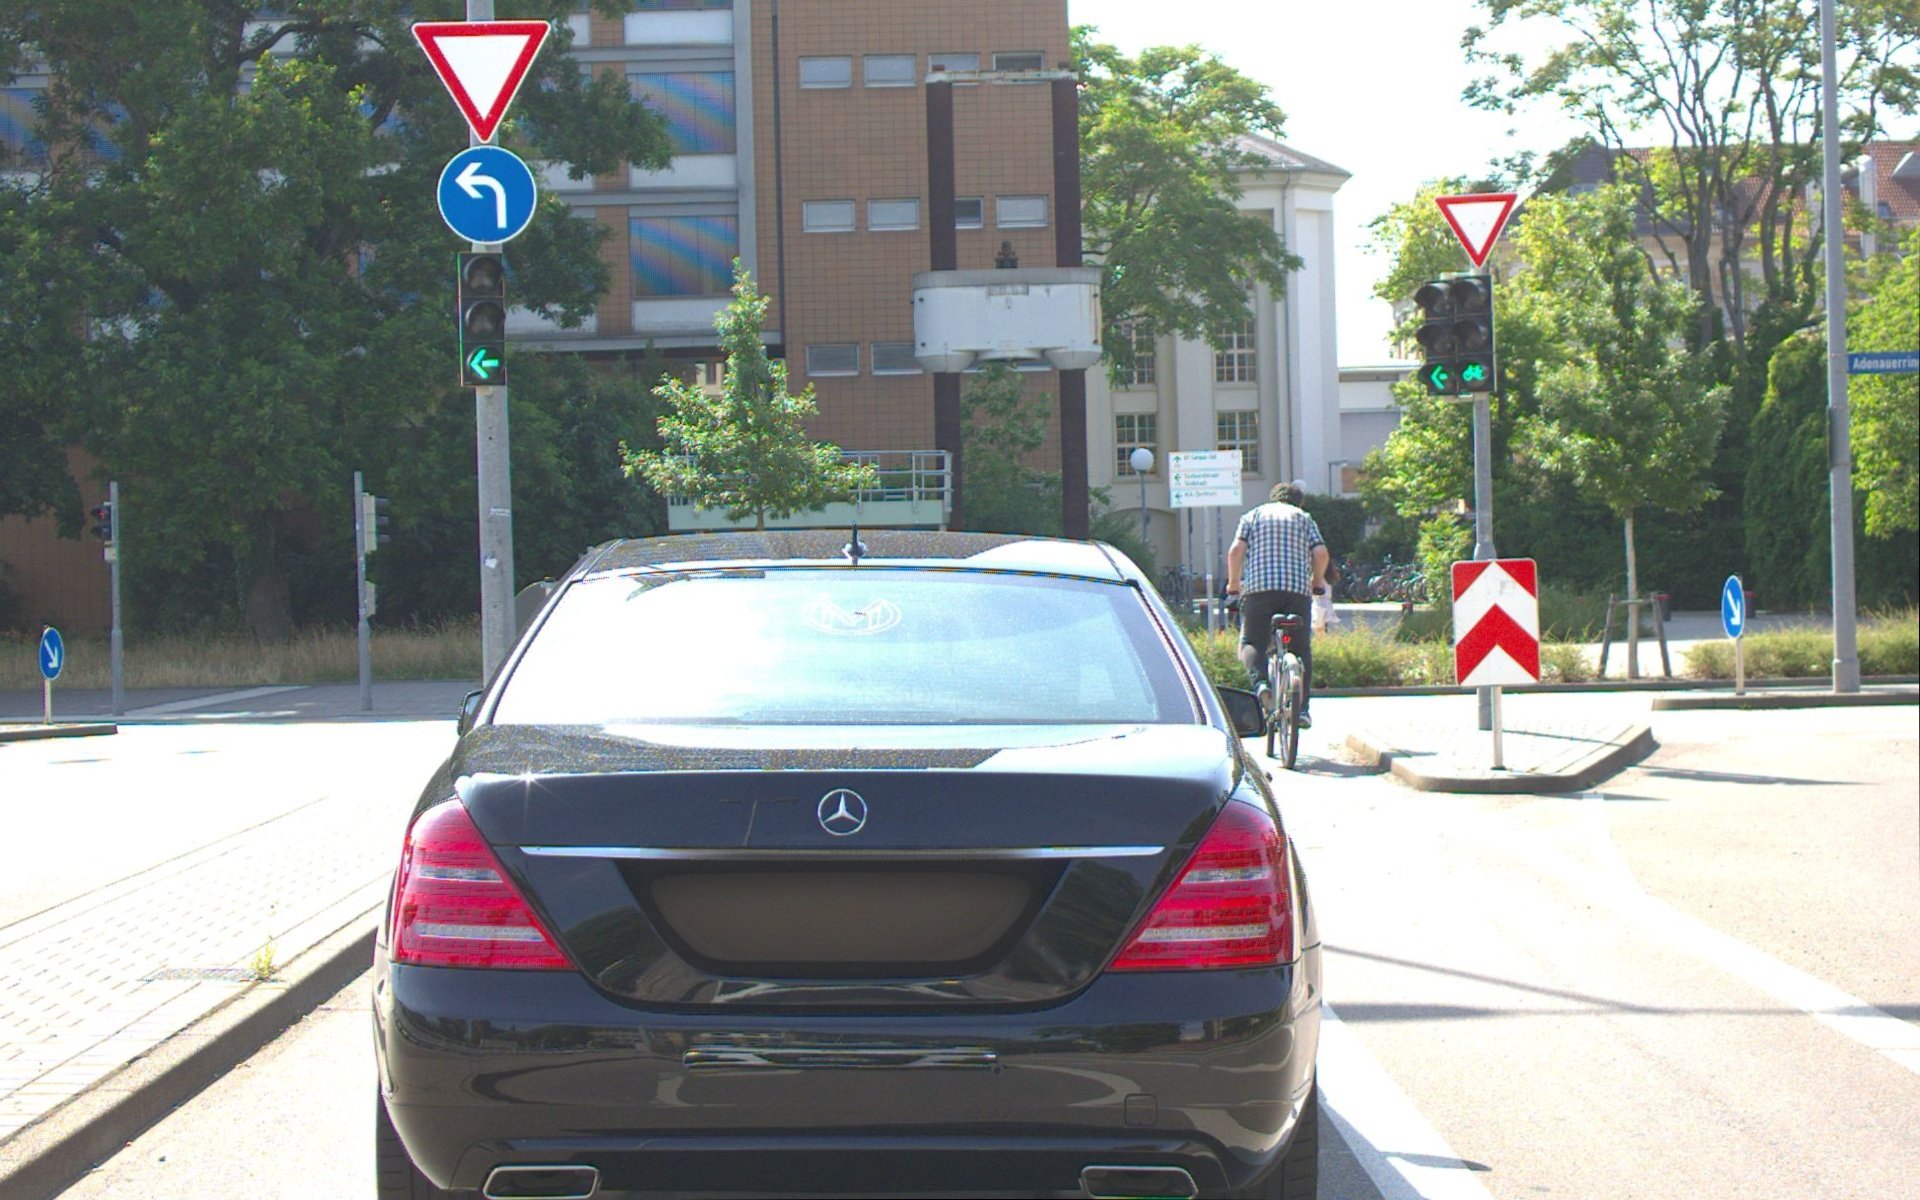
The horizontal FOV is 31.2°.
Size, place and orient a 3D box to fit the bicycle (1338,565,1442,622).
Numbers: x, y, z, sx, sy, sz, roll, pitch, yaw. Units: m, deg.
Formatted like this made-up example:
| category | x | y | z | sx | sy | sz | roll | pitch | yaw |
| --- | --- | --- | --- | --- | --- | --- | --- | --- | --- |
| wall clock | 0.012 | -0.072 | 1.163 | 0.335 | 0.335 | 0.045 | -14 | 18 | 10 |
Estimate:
| category | x | y | z | sx | sy | sz | roll | pitch | yaw |
| --- | --- | --- | --- | --- | --- | --- | --- | --- | --- |
| bicycle | 12.296 | -0.187 | 98.356 | 2.823 | 1.532 | 0.842 | -2 | 1 | -1 |

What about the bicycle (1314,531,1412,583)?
| category | x | y | z | sx | sy | sz | roll | pitch | yaw |
| --- | --- | --- | --- | --- | --- | --- | --- | --- | --- |
| bicycle | 12.255 | -1.306 | 104.486 | 2.823 | 1.495 | 0.842 | -2 | 1 | -1 |

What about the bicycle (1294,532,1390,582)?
| category | x | y | z | sx | sy | sz | roll | pitch | yaw |
| --- | --- | --- | --- | --- | --- | --- | --- | --- | --- |
| bicycle | 11.812 | -1.334 | 106.381 | 2.823 | 1.475 | 0.841 | -2 | 1 | 0 |

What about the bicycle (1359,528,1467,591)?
| category | x | y | z | sx | sy | sz | roll | pitch | yaw |
| --- | --- | --- | --- | --- | --- | --- | --- | --- | --- |
| bicycle | 12.529 | -1.121 | 95.202 | 2.823 | 1.643 | 0.842 | -2 | 1 | -1 |

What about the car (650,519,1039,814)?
| category | x | y | z | sx | sy | sz | roll | pitch | yaw |
| --- | --- | --- | --- | --- | --- | --- | --- | --- | --- |
| car | -0.620 | 0.324 | 19.799 | 1.993 | 1.503 | 4.000 | 1 | 1 | -1 |

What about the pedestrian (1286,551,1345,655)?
| category | x | y | z | sx | sy | sz | roll | pitch | yaw |
| --- | --- | --- | --- | --- | --- | --- | --- | --- | --- |
| pedestrian | 5.462 | 0.041 | 52.820 | 0.811 | 1.574 | 0.692 | -2 | 0 | 1 |

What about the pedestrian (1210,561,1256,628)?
| category | x | y | z | sx | sy | sz | roll | pitch | yaw |
| --- | --- | --- | --- | --- | --- | --- | --- | --- | --- |
| pedestrian | 5.054 | -0.108 | 63.618 | 0.793 | 1.209 | 0.757 | 1 | 0 | 6 |

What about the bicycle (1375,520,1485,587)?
| category | x | y | z | sx | sy | sz | roll | pitch | yaw |
| --- | --- | --- | --- | --- | --- | --- | --- | --- | --- |
| bicycle | 12.812 | -1.264 | 93.723 | 2.823 | 1.738 | 0.842 | -2 | 1 | -1 |

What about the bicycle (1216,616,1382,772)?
| category | x | y | z | sx | sy | sz | roll | pitch | yaw |
| --- | --- | --- | --- | --- | --- | --- | --- | --- | --- |
| bicycle | 2.197 | 0.595 | 22.536 | 0.692 | 0.943 | 1.959 | 1 | 1 | -6 |

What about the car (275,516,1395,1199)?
| category | x | y | z | sx | sy | sz | roll | pitch | yaw |
| --- | --- | --- | --- | --- | --- | --- | --- | --- | --- |
| car | -0.253 | 0.606 | 8.091 | 1.858 | 1.525 | 4.714 | 0 | 1 | -1 |

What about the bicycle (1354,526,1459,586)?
| category | x | y | z | sx | sy | sz | roll | pitch | yaw |
| --- | --- | --- | --- | --- | --- | --- | --- | --- | --- |
| bicycle | 12.630 | -1.245 | 97.253 | 2.823 | 1.581 | 0.842 | -2 | 1 | -1 |

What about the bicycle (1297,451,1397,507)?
| category | x | y | z | sx | sy | sz | roll | pitch | yaw |
| --- | --- | --- | --- | --- | --- | --- | --- | --- | --- |
| bicycle | 11.528 | -3.610 | 102.519 | 2.823 | 1.553 | 0.842 | -2 | 1 | -1 |

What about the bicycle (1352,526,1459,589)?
| category | x | y | z | sx | sy | sz | roll | pitch | yaw |
| --- | --- | --- | --- | --- | --- | --- | --- | --- | --- |
| bicycle | 12.460 | -1.202 | 96.224 | 2.823 | 1.653 | 0.842 | -2 | 2 | -1 |

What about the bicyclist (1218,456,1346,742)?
| category | x | y | z | sx | sy | sz | roll | pitch | yaw |
| --- | --- | --- | --- | --- | --- | --- | --- | --- | --- |
| bicyclist | 2.143 | -0.013 | 22.961 | 0.685 | 1.872 | 0.860 | 0 | 0 | -6 |
